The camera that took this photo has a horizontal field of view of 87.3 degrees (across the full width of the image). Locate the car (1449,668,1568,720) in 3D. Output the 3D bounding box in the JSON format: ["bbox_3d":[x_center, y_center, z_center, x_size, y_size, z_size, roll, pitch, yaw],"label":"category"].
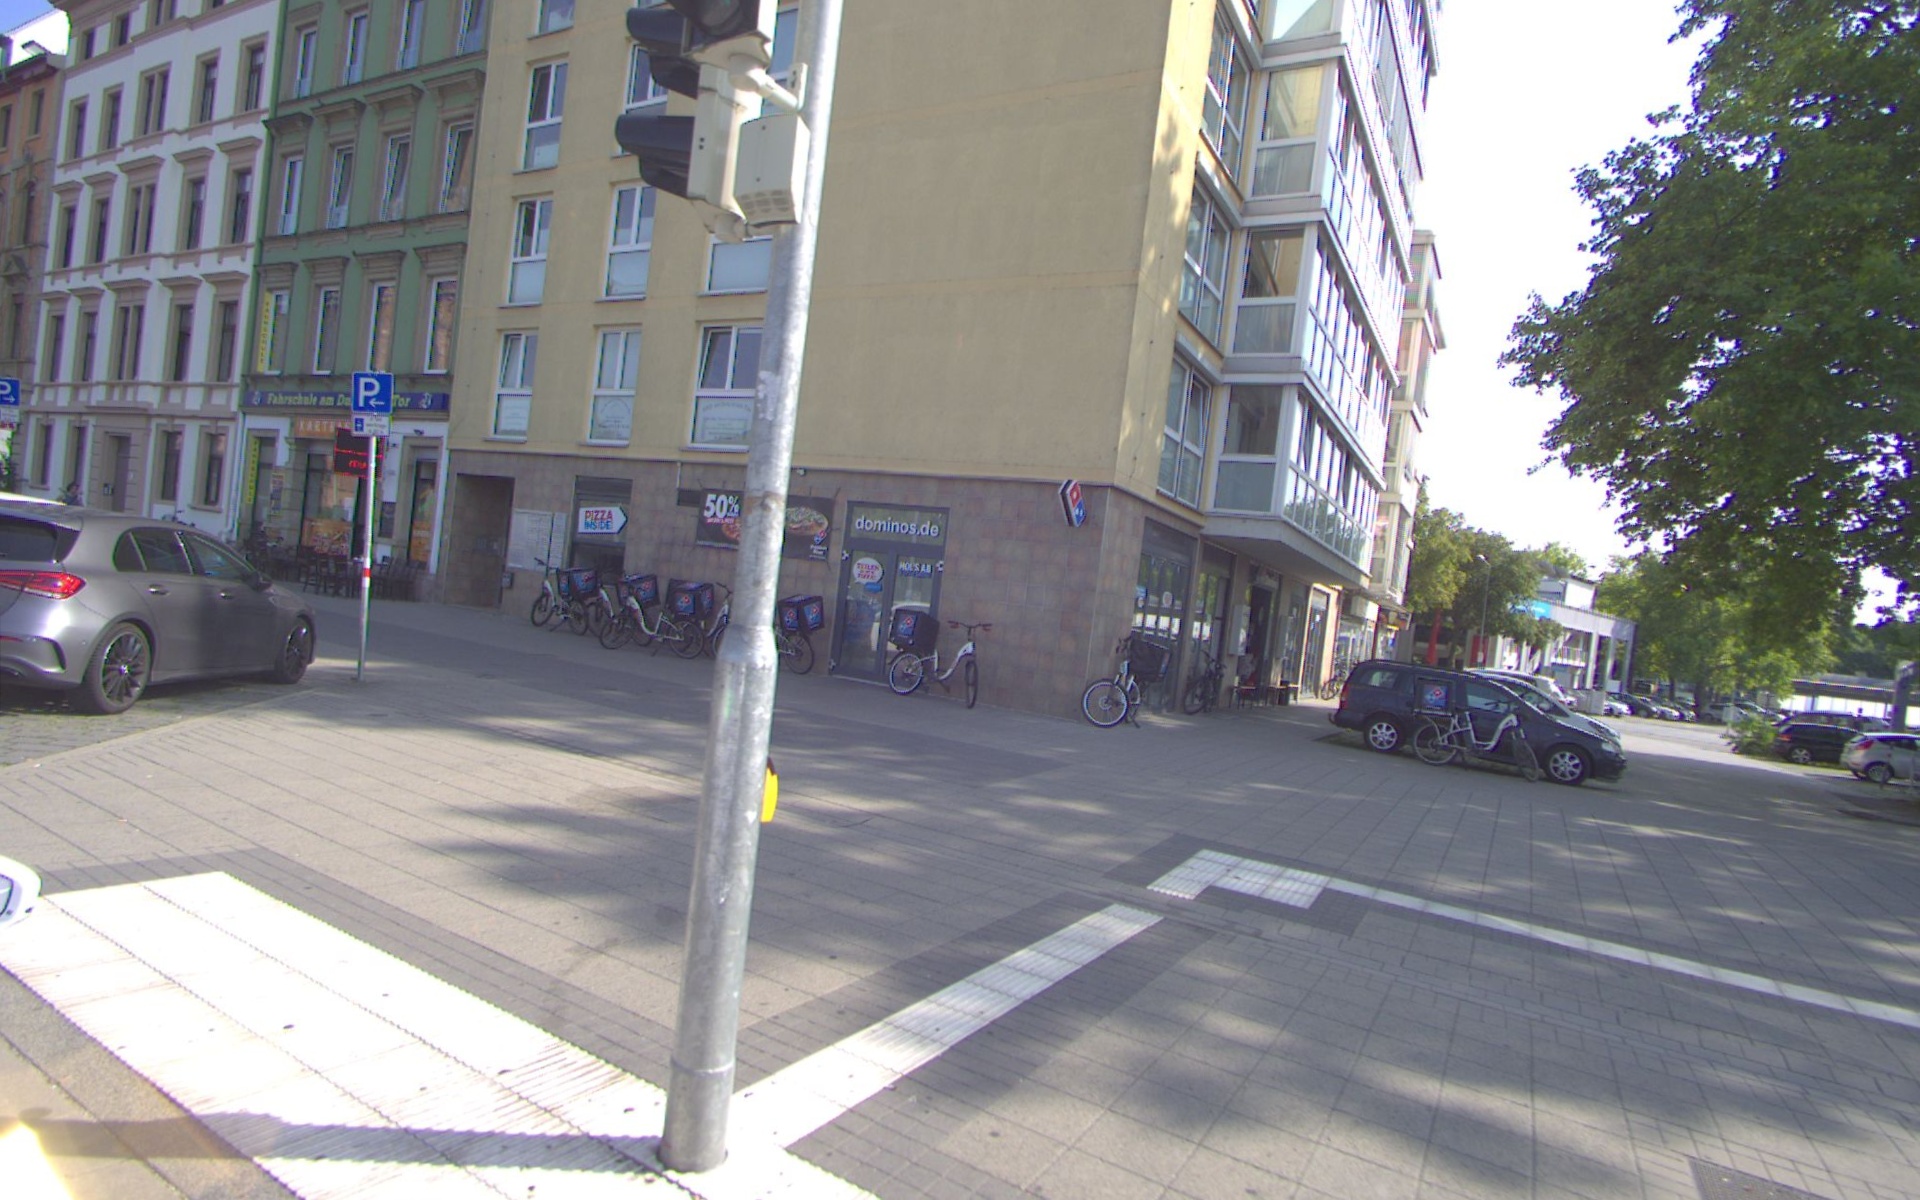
[{"bbox_3d":[21.633,3.665,39.776,3.932,1.393,1.997,7,0,30],"label":"car"}]

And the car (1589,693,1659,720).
[{"bbox_3d":[49.538,7.924,75.050,1.730,1.393,3.952,7,0,-42],"label":"car"}]

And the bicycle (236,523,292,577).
[{"bbox_3d":[-16.954,-1.234,24.486,1.690,1.148,0.384,7,1,31],"label":"bicycle"}]

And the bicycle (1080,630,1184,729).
[{"bbox_3d":[2.467,1.103,14.216,0.659,1.221,2.019,8,1,30],"label":"bicycle"}]

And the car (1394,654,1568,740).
[{"bbox_3d":[14.162,2.591,27.394,3.933,1.665,1.996,7,1,31],"label":"car"}]

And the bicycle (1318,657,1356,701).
[{"bbox_3d":[11.510,2.406,30.678,0.659,1.221,2.019,8,1,30],"label":"bicycle"}]

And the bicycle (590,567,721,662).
[{"bbox_3d":[-4.898,0.231,16.162,1.961,1.277,0.604,7,1,22],"label":"bicycle"}]

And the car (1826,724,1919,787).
[{"bbox_3d":[27.739,4.641,28.859,3.932,1.393,1.997,7,0,30],"label":"car"}]

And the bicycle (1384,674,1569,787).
[{"bbox_3d":[7.539,1.877,14.793,2.260,1.250,0.523,7,1,26],"label":"bicycle"}]

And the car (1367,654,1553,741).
[{"bbox_3d":[12.648,2.412,25.481,3.933,1.526,1.996,7,1,31],"label":"car"}]

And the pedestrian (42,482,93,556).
[{"bbox_3d":[-21.467,-1.946,24.203,0.725,1.650,0.609,7,1,31],"label":"pedestrian"}]

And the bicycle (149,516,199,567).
[{"bbox_3d":[-20.507,-1.528,26.237,1.690,1.148,0.384,7,1,31],"label":"bicycle"}]

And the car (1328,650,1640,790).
[{"bbox_3d":[8.302,1.826,16.170,4.124,1.459,1.658,7,1,31],"label":"car"}]

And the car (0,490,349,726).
[{"bbox_3d":[-6.995,-0.065,8.282,1.817,1.440,4.400,7,0,-11],"label":"car"}]

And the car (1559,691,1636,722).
[{"bbox_3d":[43.084,7.175,68.018,1.730,1.393,3.952,7,0,-42],"label":"car"}]

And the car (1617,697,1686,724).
[{"bbox_3d":[52.759,8.429,76.770,1.730,1.393,3.952,7,0,-42],"label":"car"}]

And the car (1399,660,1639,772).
[{"bbox_3d":[11.265,2.268,20.430,3.933,1.526,1.996,7,1,31],"label":"car"}]

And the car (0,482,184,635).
[{"bbox_3d":[-10.291,-0.505,10.781,1.596,1.482,3.521,7,0,-11],"label":"car"}]

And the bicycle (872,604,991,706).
[{"bbox_3d":[-0.431,0.788,14.755,1.609,1.277,0.469,7,1,30],"label":"bicycle"}]

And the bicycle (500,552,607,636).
[{"bbox_3d":[-7.379,-0.118,18.225,1.963,1.277,0.603,7,1,30],"label":"bicycle"}]

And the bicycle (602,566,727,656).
[{"bbox_3d":[-4.994,0.178,16.963,1.961,1.277,0.604,7,1,22],"label":"bicycle"}]

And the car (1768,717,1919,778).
[{"bbox_3d":[31.383,5.189,35.593,3.932,1.393,1.997,7,0,30],"label":"car"}]

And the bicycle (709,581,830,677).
[{"bbox_3d":[-3.042,0.450,15.987,1.817,1.277,0.603,7,1,30],"label":"bicycle"}]

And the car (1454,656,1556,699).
[{"bbox_3d":[25.067,3.534,46.386,3.932,1.393,1.739,7,1,30],"label":"car"}]
